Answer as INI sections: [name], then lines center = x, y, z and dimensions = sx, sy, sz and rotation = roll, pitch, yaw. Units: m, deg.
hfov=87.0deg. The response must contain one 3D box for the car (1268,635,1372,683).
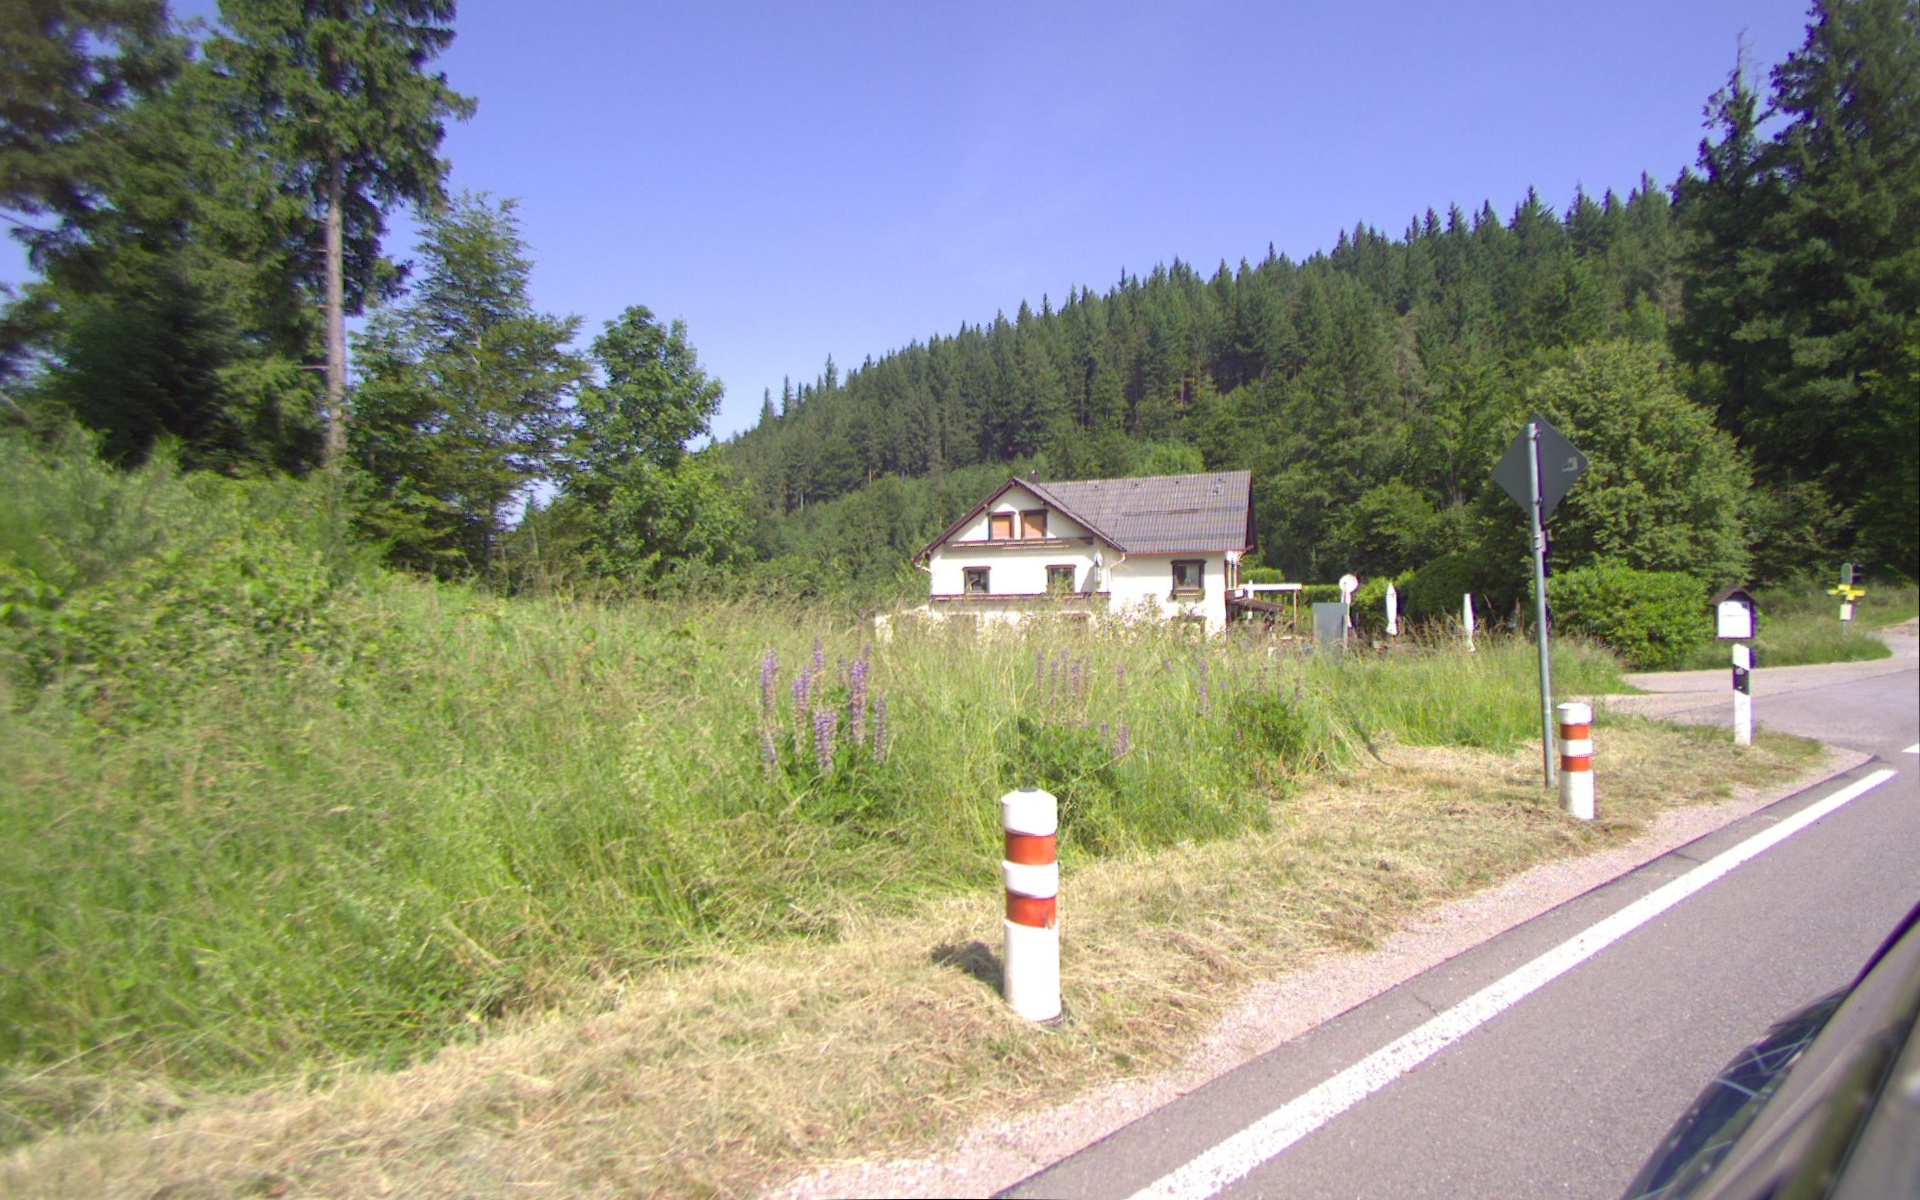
[car]
center = 14.766, 2.382, 41.788
dimensions = 1.939, 1.642, 4.485
rotation = -5, -1, -10
